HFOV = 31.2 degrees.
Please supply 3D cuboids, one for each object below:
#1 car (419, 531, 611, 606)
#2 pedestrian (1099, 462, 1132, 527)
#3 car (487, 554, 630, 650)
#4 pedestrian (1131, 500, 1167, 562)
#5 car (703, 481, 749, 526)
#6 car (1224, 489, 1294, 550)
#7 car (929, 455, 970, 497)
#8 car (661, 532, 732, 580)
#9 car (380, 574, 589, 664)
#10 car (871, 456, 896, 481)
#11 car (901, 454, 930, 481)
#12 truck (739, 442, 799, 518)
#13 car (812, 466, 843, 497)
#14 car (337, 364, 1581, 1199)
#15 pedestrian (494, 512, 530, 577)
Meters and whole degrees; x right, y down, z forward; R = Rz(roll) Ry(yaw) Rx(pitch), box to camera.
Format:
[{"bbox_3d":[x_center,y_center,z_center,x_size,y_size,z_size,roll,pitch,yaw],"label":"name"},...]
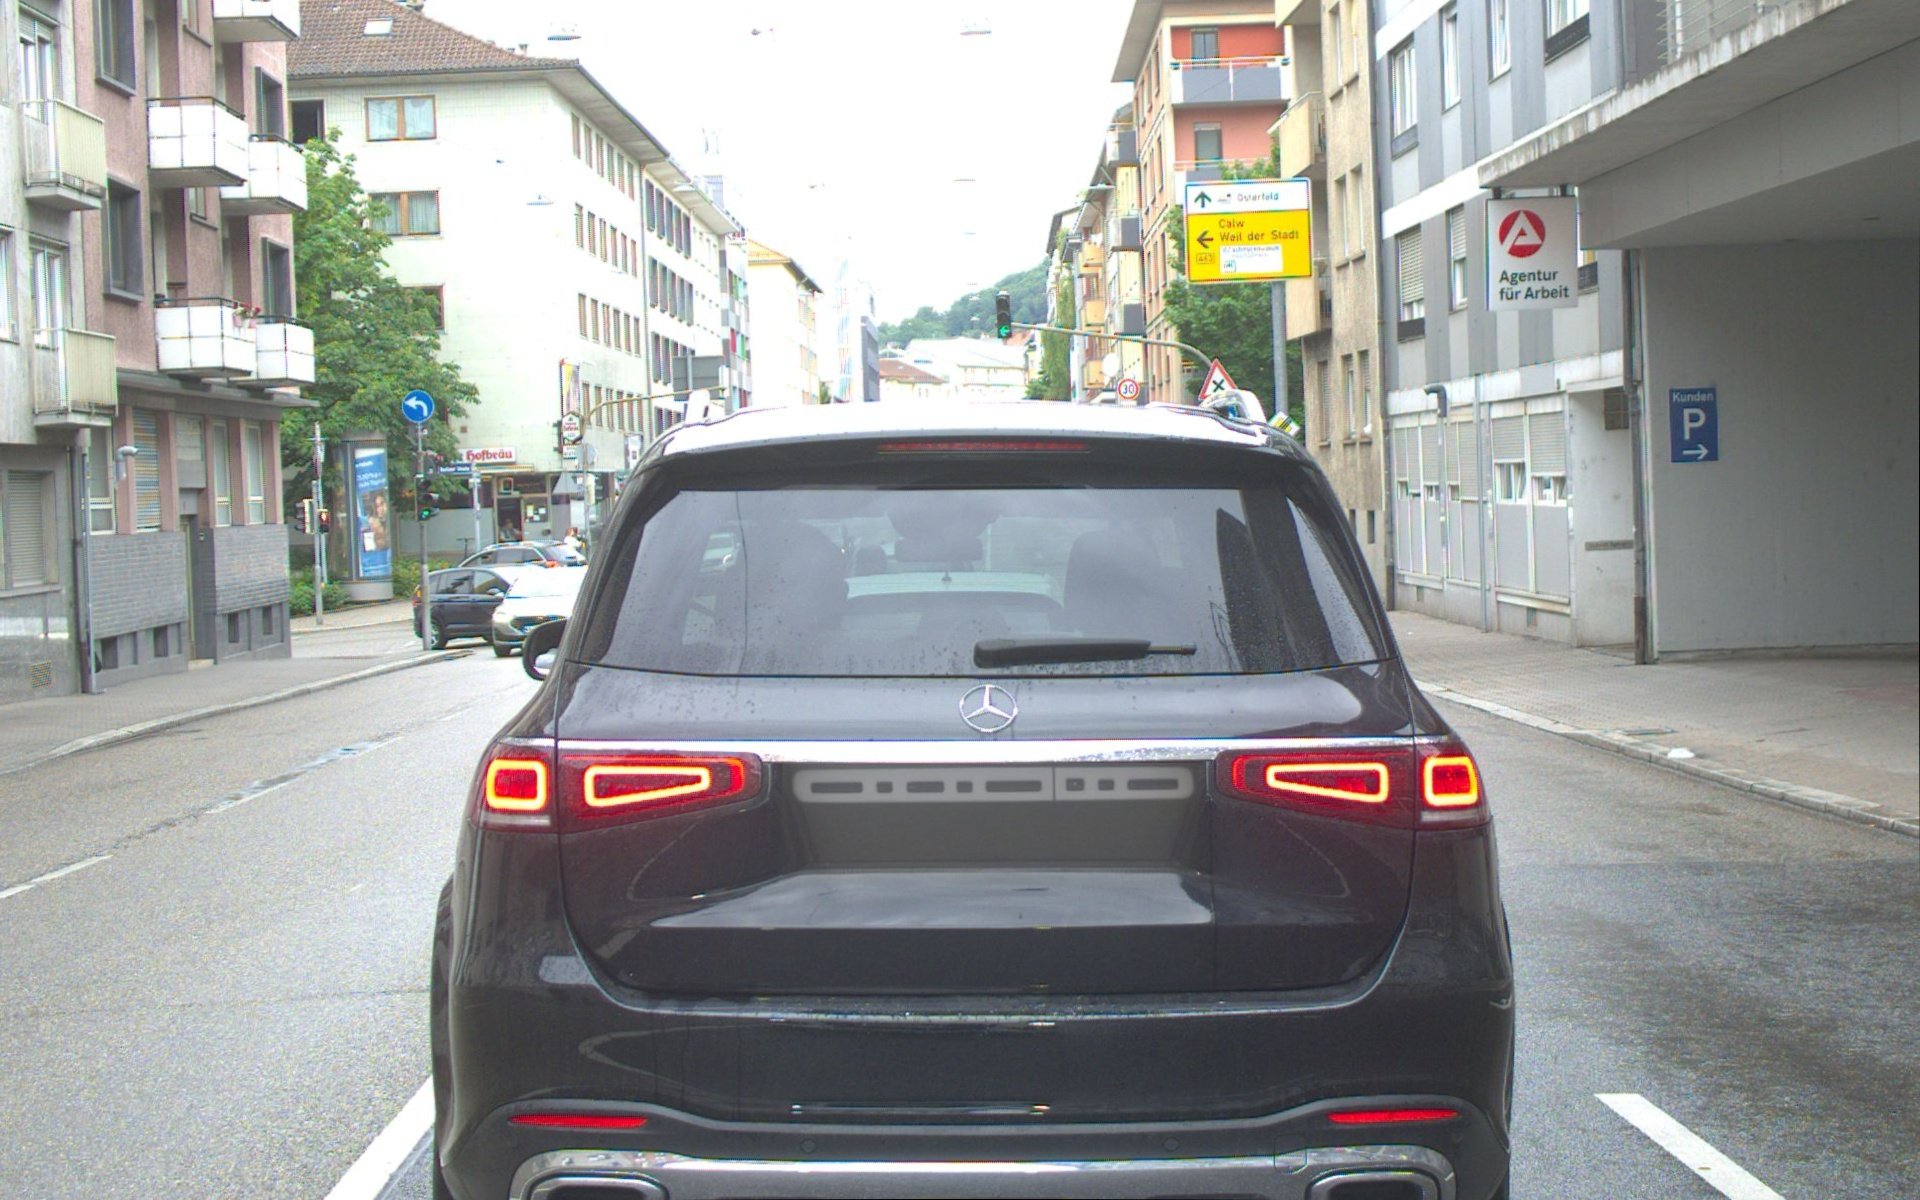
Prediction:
[{"bbox_3d":[-10.680,-0.761,82.686,4.204,1.534,1.820,-3,0,5],"label":"car"},{"bbox_3d":[4.934,-3.341,108.965,0.923,2.007,0.706,-2,1,-2],"label":"pedestrian"},{"bbox_3d":[-7.024,0.020,60.543,1.772,1.534,4.359,-3,0,2],"label":"car"},{"bbox_3d":[5.602,-2.041,101.934,0.923,1.798,0.706,-2,1,-2],"label":"pedestrian"},{"bbox_3d":[-8.931,-3.664,131.489,1.618,1.534,4.218,-3,0,-3],"label":"car"},{"bbox_3d":[8.190,-2.221,94.451,1.671,1.583,3.330,-2,1,2],"label":"car"},{"bbox_3d":[-0.524,-6.019,167.094,1.723,1.754,4.218,-3,-1,-3],"label":"car"},{"bbox_3d":[-7.618,-1.269,99.663,1.885,1.260,4.218,-3,0,-3],"label":"car"},{"bbox_3d":[-9.707,0.395,70.016,1.995,1.700,4.364,-3,1,-43],"label":"car"},{"bbox_3d":[-5.538,-9.552,250.024,1.618,1.534,4.218,-3,0,-3],"label":"car"},{"bbox_3d":[-2.882,-8.532,221.824,1.618,1.534,4.218,-3,0,-3],"label":"car"},{"bbox_3d":[-8.666,-5.424,156.894,2.479,3.035,9.921,-3,0,-3],"label":"truck"},{"bbox_3d":[-7.494,-6.639,193.514,1.618,1.534,4.218,-3,0,-3],"label":"car"},{"bbox_3d":[-0.029,0.522,7.732,1.985,1.799,4.390,1,0,-1],"label":"car"},{"bbox_3d":[-13.292,-1.640,101.934,0.923,1.895,0.706,-2,1,-2],"label":"pedestrian"}]
